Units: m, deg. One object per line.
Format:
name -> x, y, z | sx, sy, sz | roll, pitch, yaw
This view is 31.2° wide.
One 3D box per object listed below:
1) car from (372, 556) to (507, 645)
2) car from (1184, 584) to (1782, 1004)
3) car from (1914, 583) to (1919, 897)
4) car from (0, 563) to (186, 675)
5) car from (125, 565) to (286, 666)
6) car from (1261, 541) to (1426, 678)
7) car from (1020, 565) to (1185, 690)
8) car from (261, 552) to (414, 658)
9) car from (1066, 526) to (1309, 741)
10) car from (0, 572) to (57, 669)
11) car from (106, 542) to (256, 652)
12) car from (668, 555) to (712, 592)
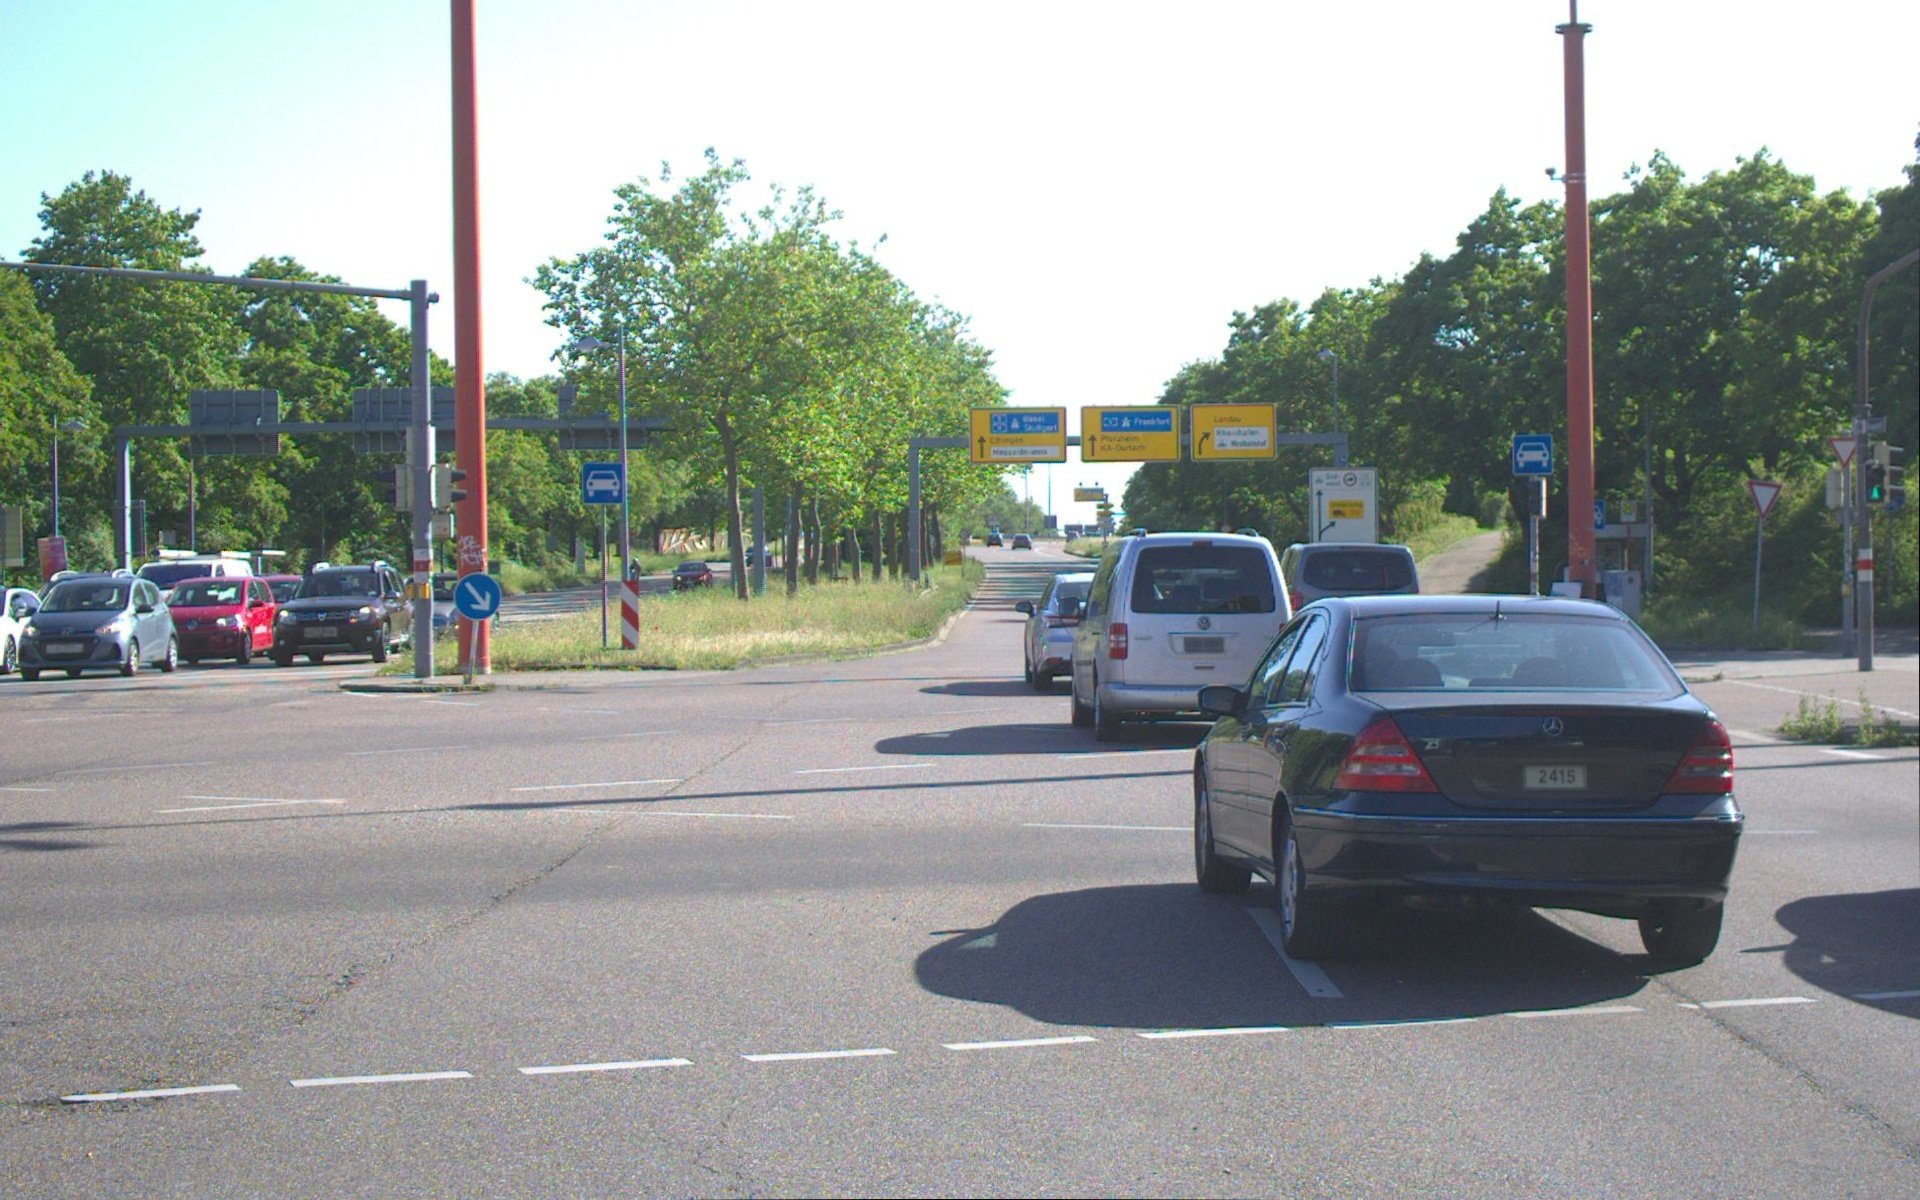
car -> -9.597, -0.010, 63.688 | 1.885, 1.538, 4.000 | -2, 1, -1
car -> 2.025, 0.688, 14.488 | 1.713, 1.449, 4.198 | -1, 1, -2
car -> 5.472, 0.687, 14.429 | 1.768, 1.503, 4.226 | 1, 0, 0
car -> -13.146, 0.257, 52.138 | 1.874, 1.545, 4.028 | -2, 1, -1
car -> -12.784, 0.240, 58.476 | 1.875, 1.547, 4.000 | -3, 1, -2
car -> 5.469, 0.097, 49.563 | 1.804, 1.845, 5.103 | -1, 1, 0
car -> 1.763, 0.323, 43.832 | 1.804, 1.488, 4.682 | 1, 0, -1
car -> -10.134, 0.056, 56.210 | 1.793, 1.620, 4.143 | -2, 1, -1
car -> 2.005, 0.278, 31.488 | 1.804, 1.815, 4.587 | 0, 0, -1
car -> -16.451, 0.339, 57.135 | 1.901, 1.549, 4.000 | -1, 0, -2
car -> -15.963, -0.087, 70.684 | 1.961, 2.147, 5.082 | -1, 1, -1
car -> -13.779, -1.356, 175.379 | 1.915, 1.840, 3.961 | 0, 1, 0
